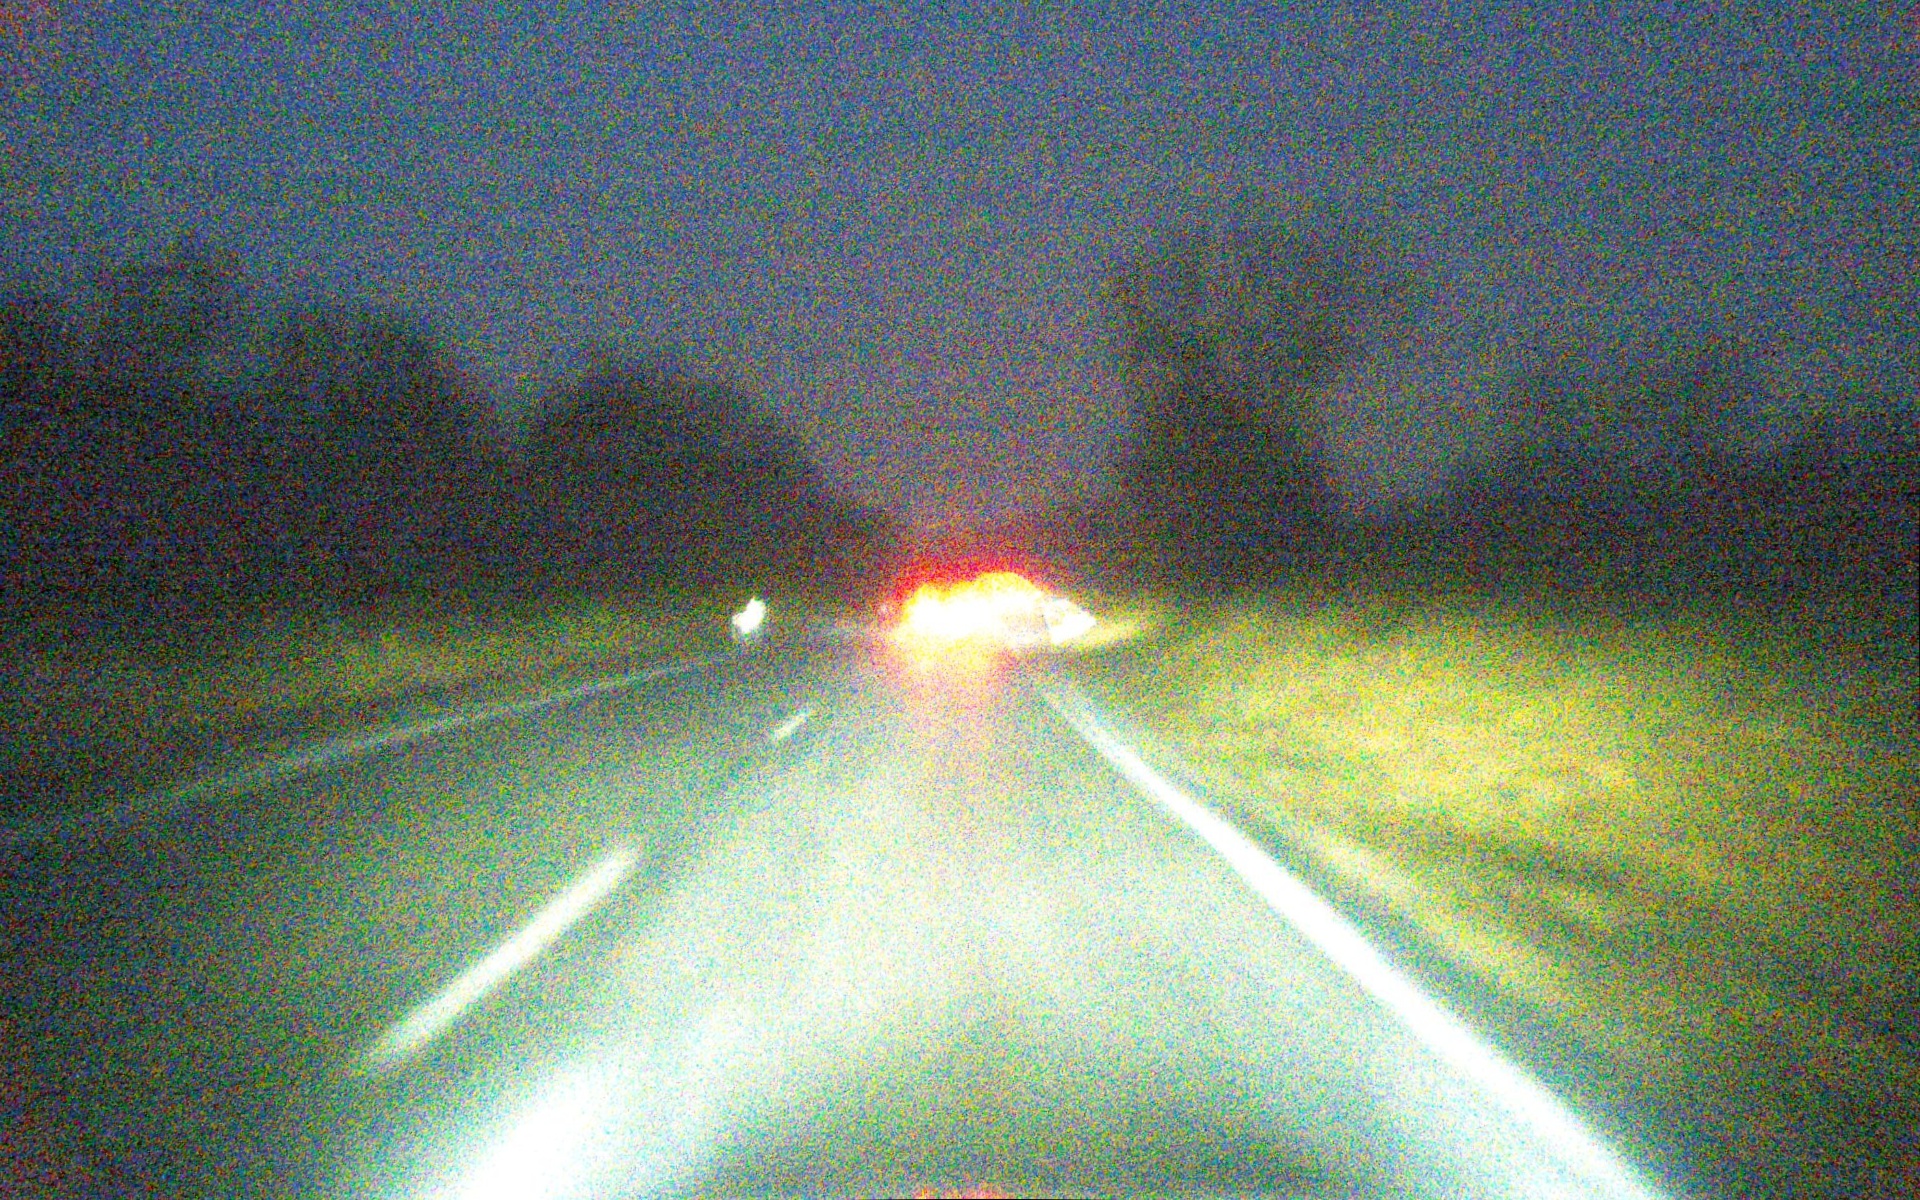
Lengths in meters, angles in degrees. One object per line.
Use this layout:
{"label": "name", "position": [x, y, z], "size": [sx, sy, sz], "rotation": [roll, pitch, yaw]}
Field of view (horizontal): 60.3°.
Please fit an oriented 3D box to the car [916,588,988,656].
{"label": "car", "position": [-0.176, 0.565, 45.415], "size": [1.804, 1.771, 4.001], "rotation": [0, 0, 2]}
